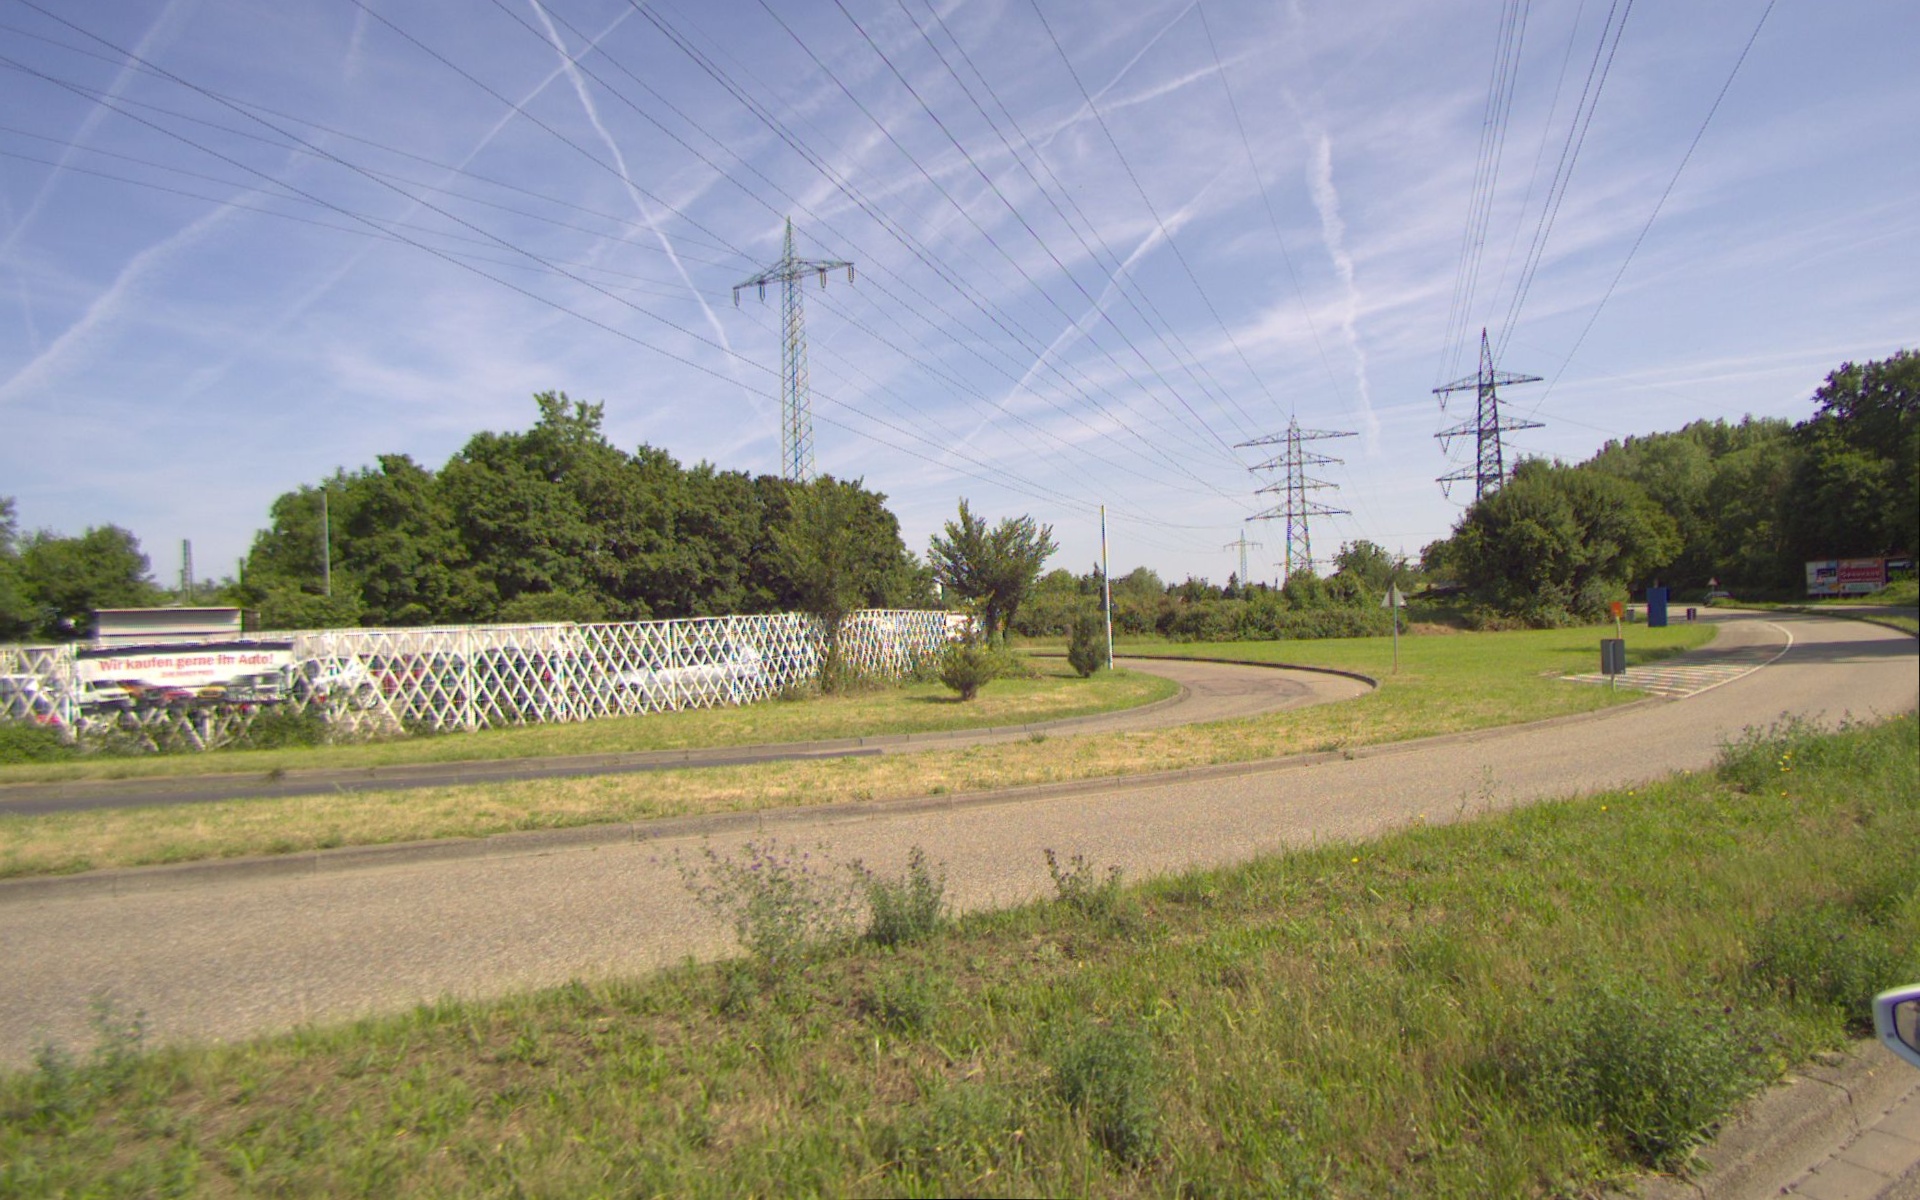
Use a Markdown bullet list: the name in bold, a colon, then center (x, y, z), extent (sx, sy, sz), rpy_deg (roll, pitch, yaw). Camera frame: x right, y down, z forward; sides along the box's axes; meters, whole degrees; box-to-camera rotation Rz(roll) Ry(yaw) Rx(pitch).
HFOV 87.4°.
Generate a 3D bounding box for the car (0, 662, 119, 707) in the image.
- **car**: center (-30.996, 2.882, 34.357), extent (3.117, 1.310, 1.599), rpy_deg (-2, -1, 3)

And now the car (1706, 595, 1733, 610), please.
- **car**: center (82.973, 0.278, 109.795), extent (1.621, 1.587, 3.653), rpy_deg (-3, -2, 25)

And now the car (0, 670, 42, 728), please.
- **car**: center (-23.647, 2.386, 23.235), extent (1.568, 1.310, 3.179), rpy_deg (-3, -1, 21)

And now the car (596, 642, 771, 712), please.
- **car**: center (-6.285, 1.739, 23.151), extent (3.689, 1.372, 1.483), rpy_deg (-2, -1, -9)

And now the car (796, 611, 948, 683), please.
- **car**: center (-2.785, 1.481, 32.133), extent (4.644, 2.068, 1.695), rpy_deg (-2, -1, -3)

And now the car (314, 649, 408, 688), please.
- **car**: center (-23.693, 2.690, 39.842), extent (1.567, 1.310, 3.182), rpy_deg (-2, -1, 6)

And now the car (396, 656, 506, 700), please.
- **car**: center (-17.755, 2.718, 35.163), extent (1.568, 1.310, 3.179), rpy_deg (-3, -1, 21)
